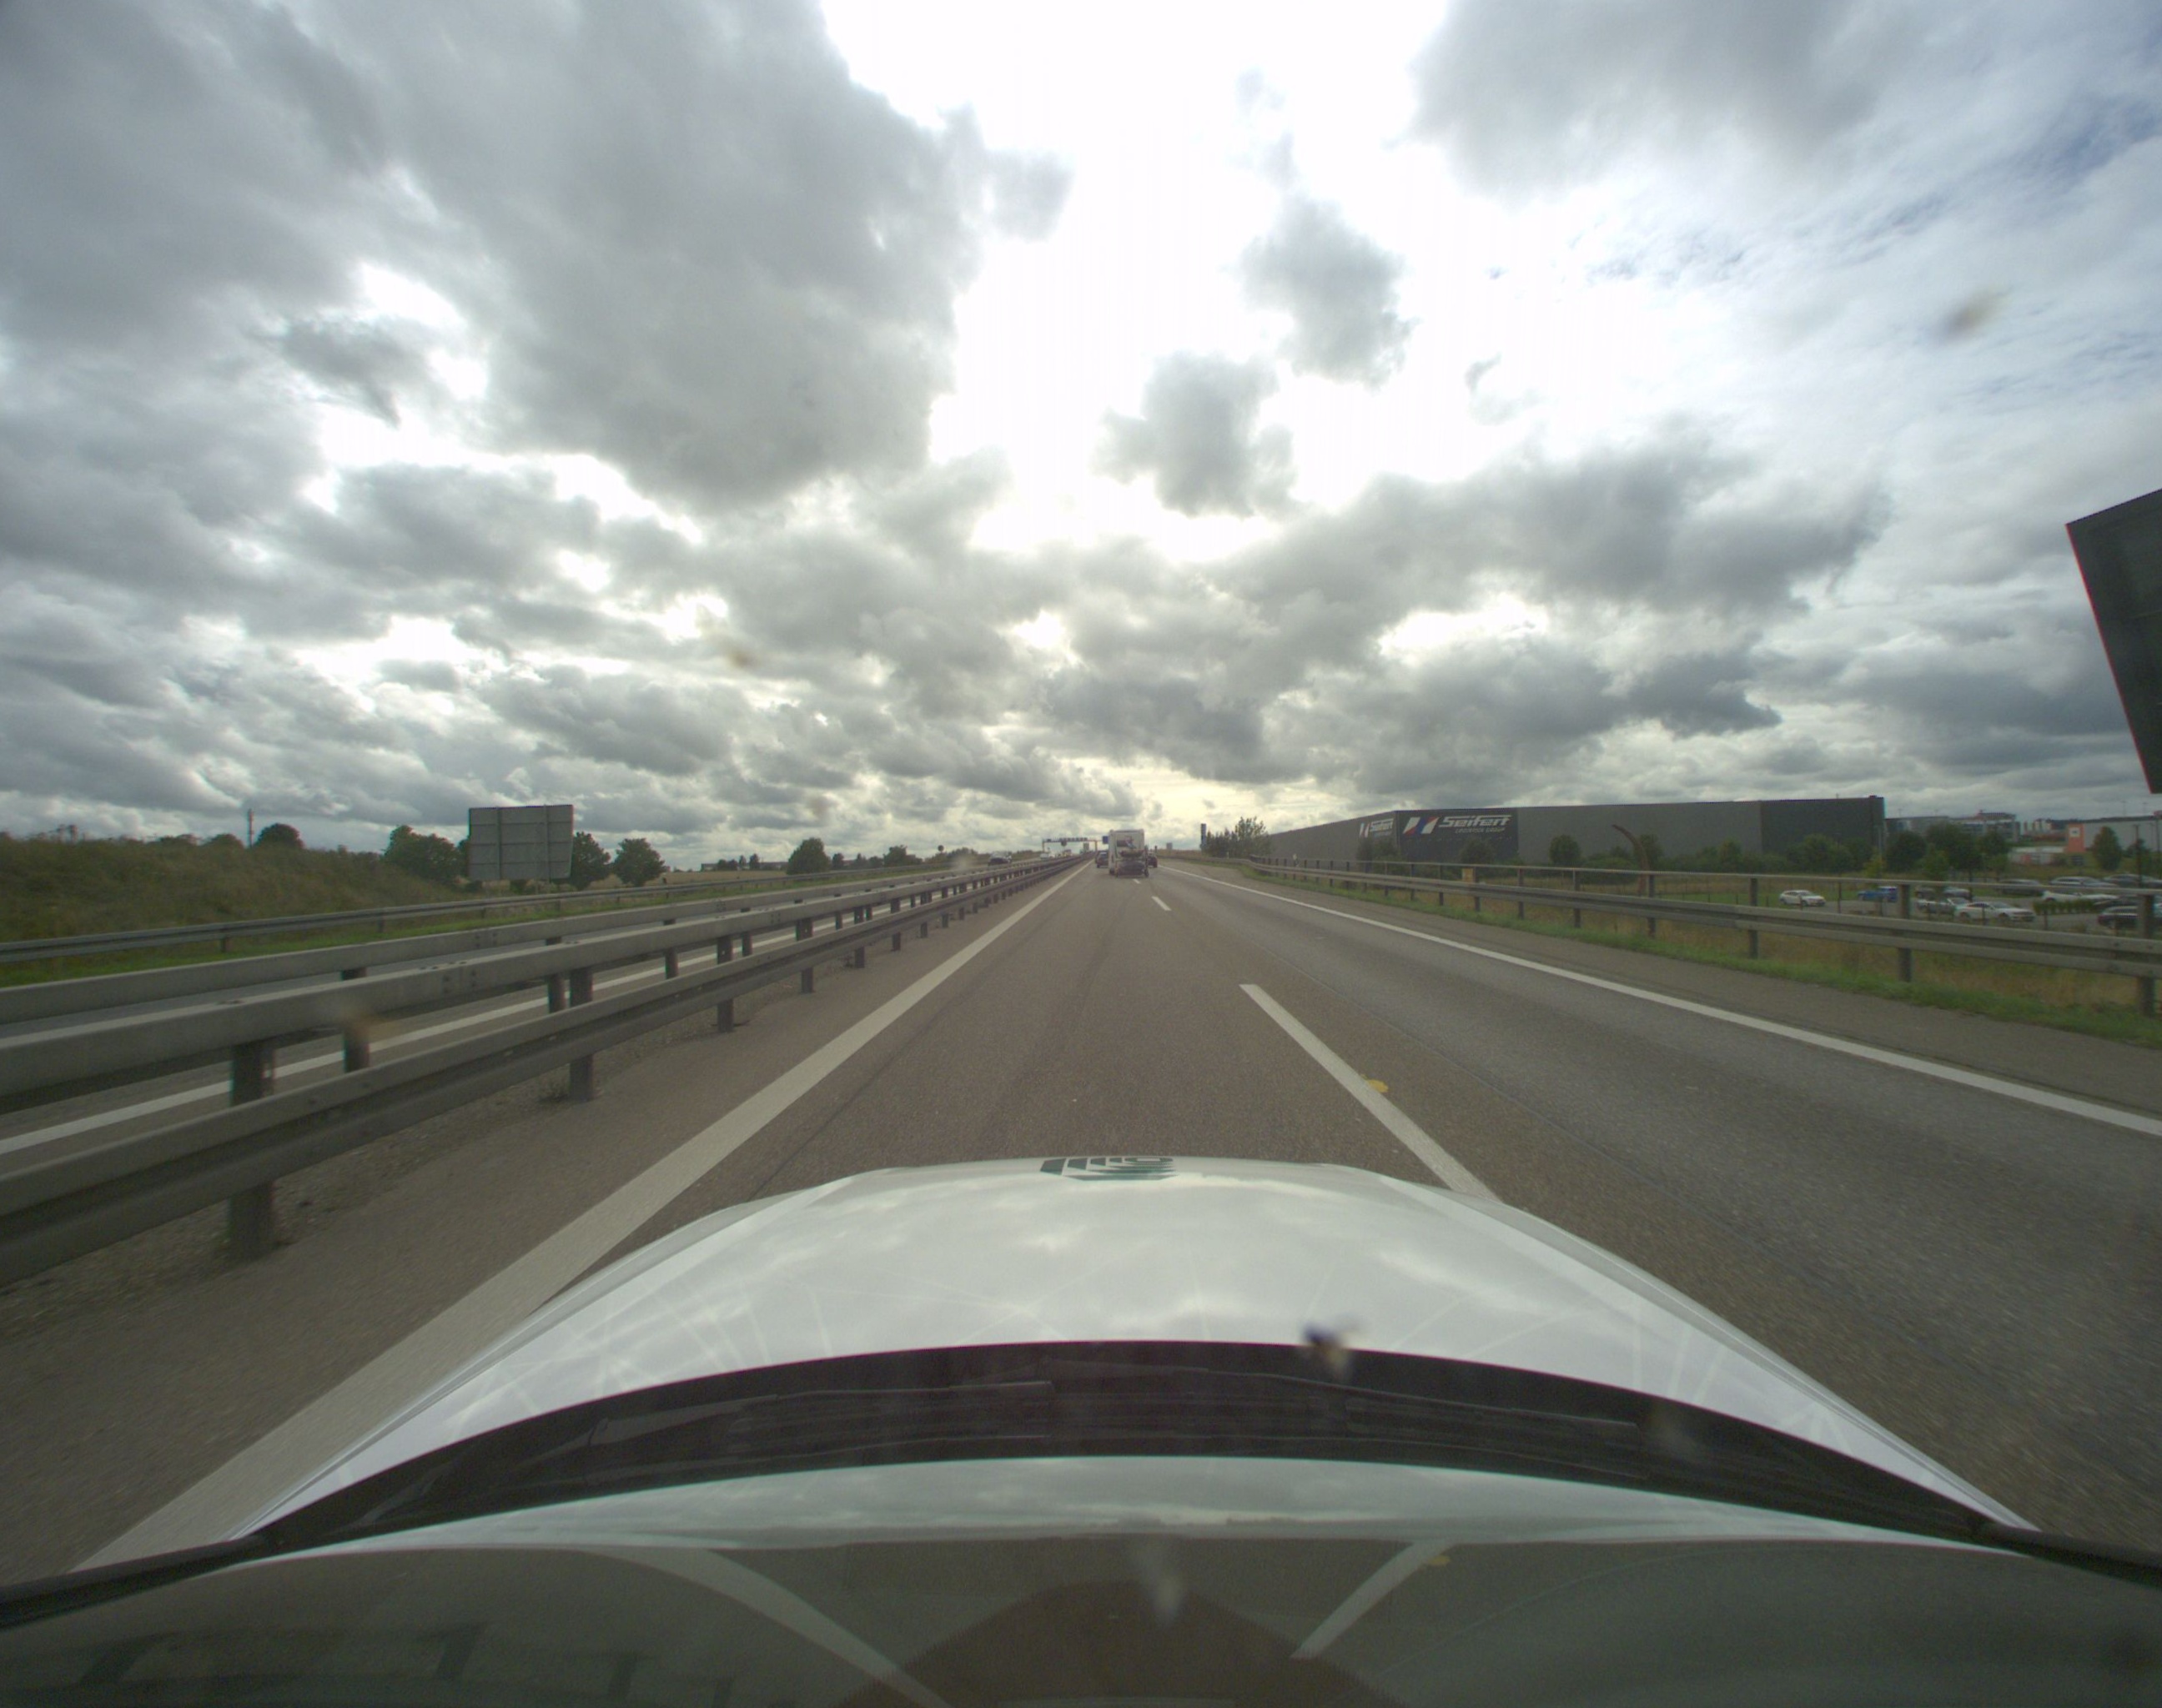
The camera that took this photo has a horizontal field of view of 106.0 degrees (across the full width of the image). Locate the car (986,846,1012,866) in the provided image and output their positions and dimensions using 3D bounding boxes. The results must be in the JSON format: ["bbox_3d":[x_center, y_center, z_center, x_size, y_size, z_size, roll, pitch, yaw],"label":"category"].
[{"bbox_3d":[-8.844,0.219,88.725,1.986,2.013,6.104,-2,0,1],"label":"car"}]

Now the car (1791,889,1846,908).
[{"bbox_3d":[69.369,4.169,76.683,1.669,1.494,4.001,0,0,1],"label":"car"}]

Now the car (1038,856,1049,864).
[{"bbox_3d":[-7.346,1.127,160.143,1.750,1.468,4.560,-1,0,1],"label":"car"}]

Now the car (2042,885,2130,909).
[{"bbox_3d":[81.160,3.437,65.858,1.669,1.702,4.471,0,0,1],"label":"car"}]

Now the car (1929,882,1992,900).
[{"bbox_3d":[82.422,3.492,76.410,1.669,1.494,4.001,0,0,1],"label":"car"}]

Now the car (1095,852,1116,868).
[{"bbox_3d":[2.365,0.556,77.638,1.738,1.453,4.005,-2,-1,4],"label":"car"}]

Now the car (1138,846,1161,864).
[{"bbox_3d":[6.327,0.113,75.357,1.876,1.620,4.001,-2,-1,1],"label":"car"}]

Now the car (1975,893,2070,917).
[{"bbox_3d":[68.338,3.657,59.225,1.669,1.494,4.565,0,0,1],"label":"car"}]

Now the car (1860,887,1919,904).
[{"bbox_3d":[76.900,3.929,77.527,1.669,1.494,4.001,0,0,1],"label":"car"}]

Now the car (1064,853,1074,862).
[{"bbox_3d":[-2.483,0.742,172.748,1.987,2.013,4.383,-1,0,0],"label":"car"}]

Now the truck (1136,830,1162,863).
[{"bbox_3d":[9.709,-1.037,116.941,3.234,4.525,7.068,-2,-1,2],"label":"truck"}]

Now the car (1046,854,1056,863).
[{"bbox_3d":[-6.849,1.059,184.726,1.987,2.014,4.382,-2,-1,0],"label":"car"}]

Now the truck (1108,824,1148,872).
[{"bbox_3d":[3.084,-0.309,54.344,2.472,2.950,5.818,-2,-1,2],"label":"truck"}]

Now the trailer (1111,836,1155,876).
[{"bbox_3d":[3.019,0.164,47.024,2.328,2.136,4.004,-2,-1,4],"label":"trailer"}]
